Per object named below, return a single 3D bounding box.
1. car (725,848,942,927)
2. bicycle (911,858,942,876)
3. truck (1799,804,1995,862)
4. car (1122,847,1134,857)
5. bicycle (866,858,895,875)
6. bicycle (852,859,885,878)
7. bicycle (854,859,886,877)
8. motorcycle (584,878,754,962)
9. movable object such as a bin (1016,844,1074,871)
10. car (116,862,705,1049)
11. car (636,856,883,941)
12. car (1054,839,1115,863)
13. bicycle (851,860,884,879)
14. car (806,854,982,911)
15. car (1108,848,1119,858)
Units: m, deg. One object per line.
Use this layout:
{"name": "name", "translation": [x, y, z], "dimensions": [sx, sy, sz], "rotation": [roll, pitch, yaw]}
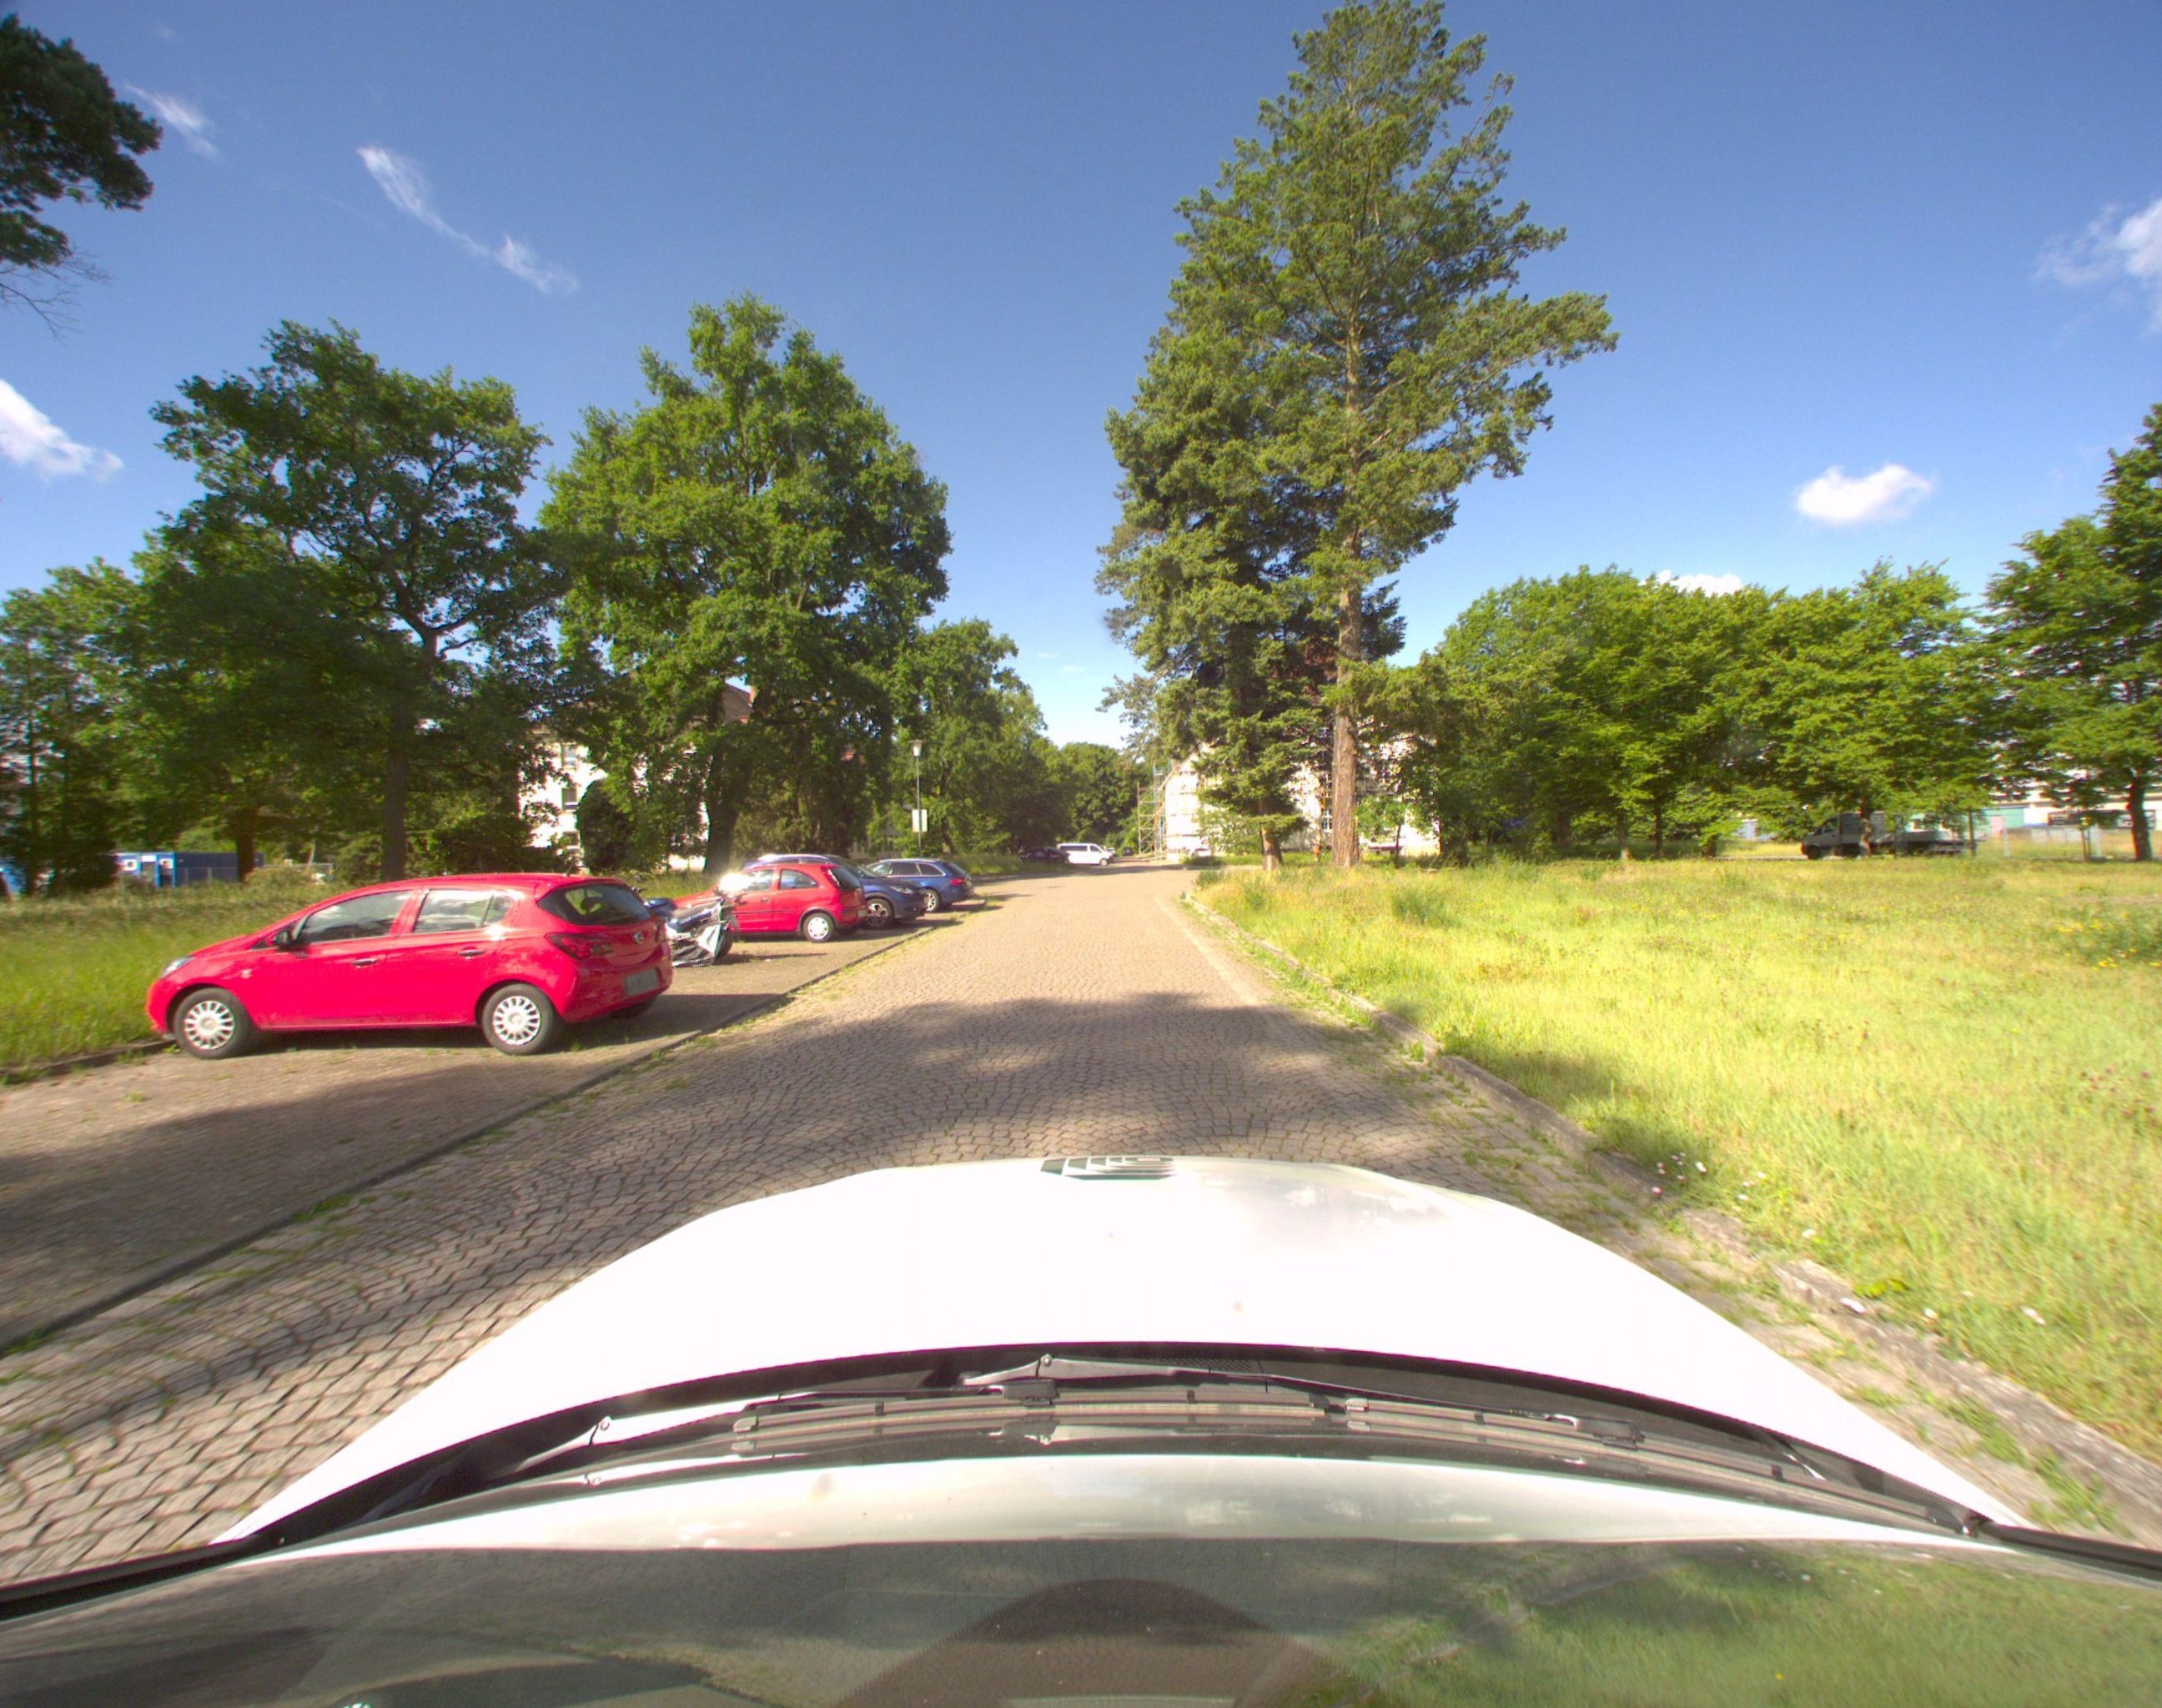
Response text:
{"name": "car", "translation": [-5.311, 0.699, 17.861], "dimensions": [4.119, 1.579, 1.885], "rotation": [-1, 1, 1]}
{"name": "bicycle", "translation": [-9.986, 0.829, 52.670], "dimensions": [1.920, 1.058, 0.472], "rotation": [-4, 1, -21]}
{"name": "truck", "translation": [37.174, -0.911, 37.512], "dimensions": [2.225, 2.423, 6.888], "rotation": [0, 0, 1]}
{"name": "car", "translation": [7.905, -0.302, 137.514], "dimensions": [1.964, 1.668, 4.087], "rotation": [-2, 0, 1]}
{"name": "bicycle", "translation": [-13.783, 0.869, 55.969], "dimensions": [1.918, 1.102, 0.567], "rotation": [-1, 1, -18]}
{"name": "bicycle", "translation": [-13.418, 0.892, 51.416], "dimensions": [1.921, 1.102, 0.566], "rotation": [-2, 2, -23]}
{"name": "bicycle", "translation": [-13.875, 0.921, 53.586], "dimensions": [1.923, 1.102, 0.565], "rotation": [-2, 2, -26]}
{"name": "motorcycle", "translation": [-6.091, 0.965, 12.087], "dimensions": [2.233, 1.161, 0.577], "rotation": [-1, 0, 3]}
{"name": "movable object such as a bin", "translation": [-2.567, 0.253, 58.293], "dimensions": [3.535, 1.744, 2.035], "rotation": [-2, 0, 20]}
{"name": "car", "translation": [-5.910, 0.841, 7.586], "dimensions": [3.910, 1.461, 1.842], "rotation": [0, 1, 0]}
{"name": "car", "translation": [-5.976, 0.799, 15.479], "dimensions": [3.907, 1.432, 1.844], "rotation": [-1, 1, 3]}
{"name": "car", "translation": [0.333, -0.260, 71.332], "dimensions": [5.215, 2.016, 1.951], "rotation": [-1, 0, 1]}
{"name": "bicycle", "translation": [-13.613, 0.979, 51.919], "dimensions": [1.921, 1.102, 0.566], "rotation": [-2, 2, -23]}
{"name": "car", "translation": [-5.093, 0.754, 22.543], "dimensions": [4.339, 1.445, 1.923], "rotation": [-1, 1, 4]}
{"name": "car", "translation": [5.502, -0.174, 137.269], "dimensions": [1.805, 1.579, 4.136], "rotation": [-2, 0, 1]}
